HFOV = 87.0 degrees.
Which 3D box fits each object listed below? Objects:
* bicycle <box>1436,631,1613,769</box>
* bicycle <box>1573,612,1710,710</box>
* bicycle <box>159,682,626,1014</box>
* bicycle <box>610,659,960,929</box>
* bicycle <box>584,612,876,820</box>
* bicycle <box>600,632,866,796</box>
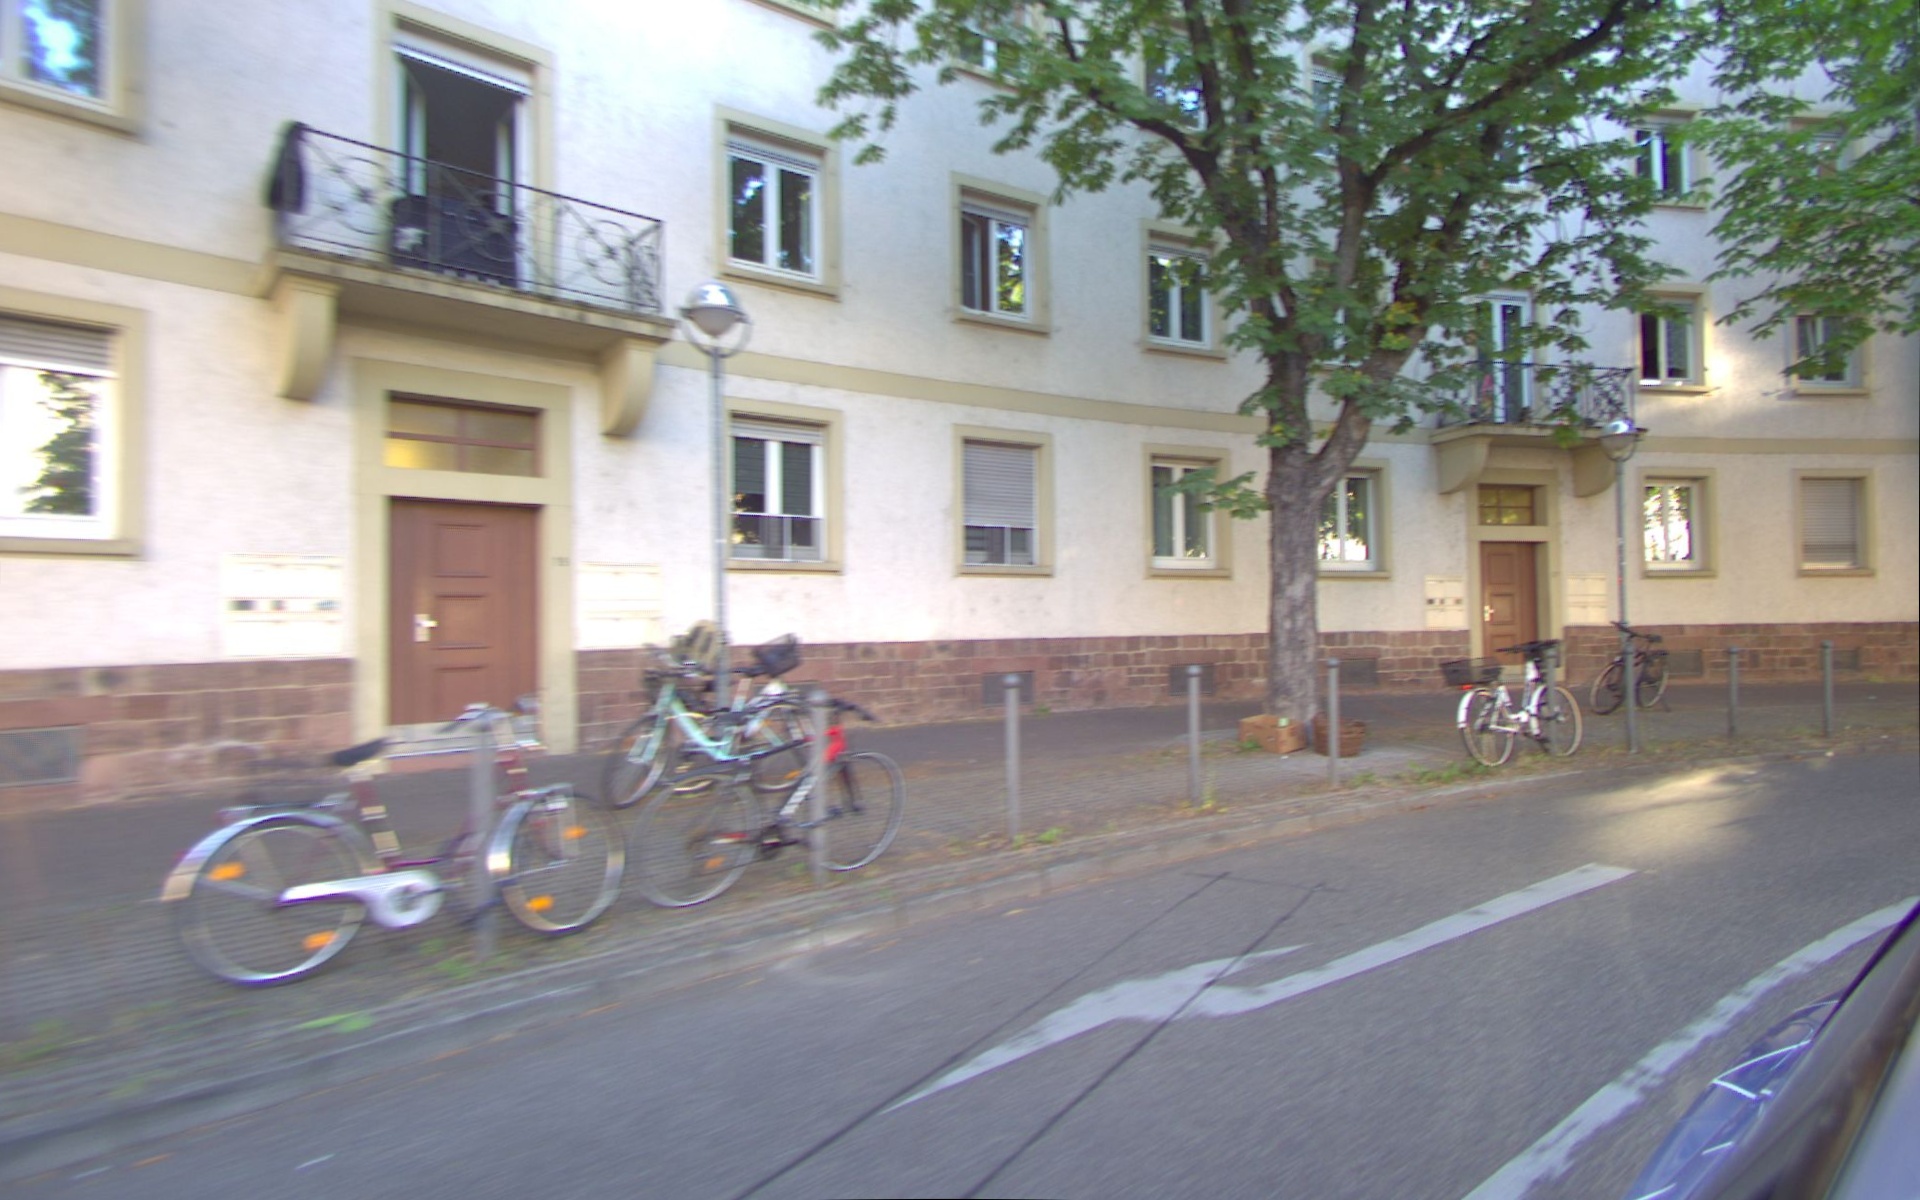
[{"bbox_3d":[5.239,0.876,9.347,1.935,1.109,0.515,-1,0,-31],"label":"bicycle"},{"bbox_3d":[8.681,0.741,12.870,1.823,1.133,0.803,0,-2,-35],"label":"bicycle"},{"bbox_3d":[-2.281,0.930,4.219,1.603,1.077,0.482,1,0,-32],"label":"bicycle"},{"bbox_3d":[-0.861,0.909,5.237,1.707,1.121,0.528,0,1,-34],"label":"bicycle"},{"bbox_3d":[-1.626,0.753,7.280,1.928,1.293,0.720,0,0,-31],"label":"bicycle"},{"bbox_3d":[-1.768,0.833,7.976,1.927,1.121,0.670,0,-2,-30],"label":"bicycle"}]
